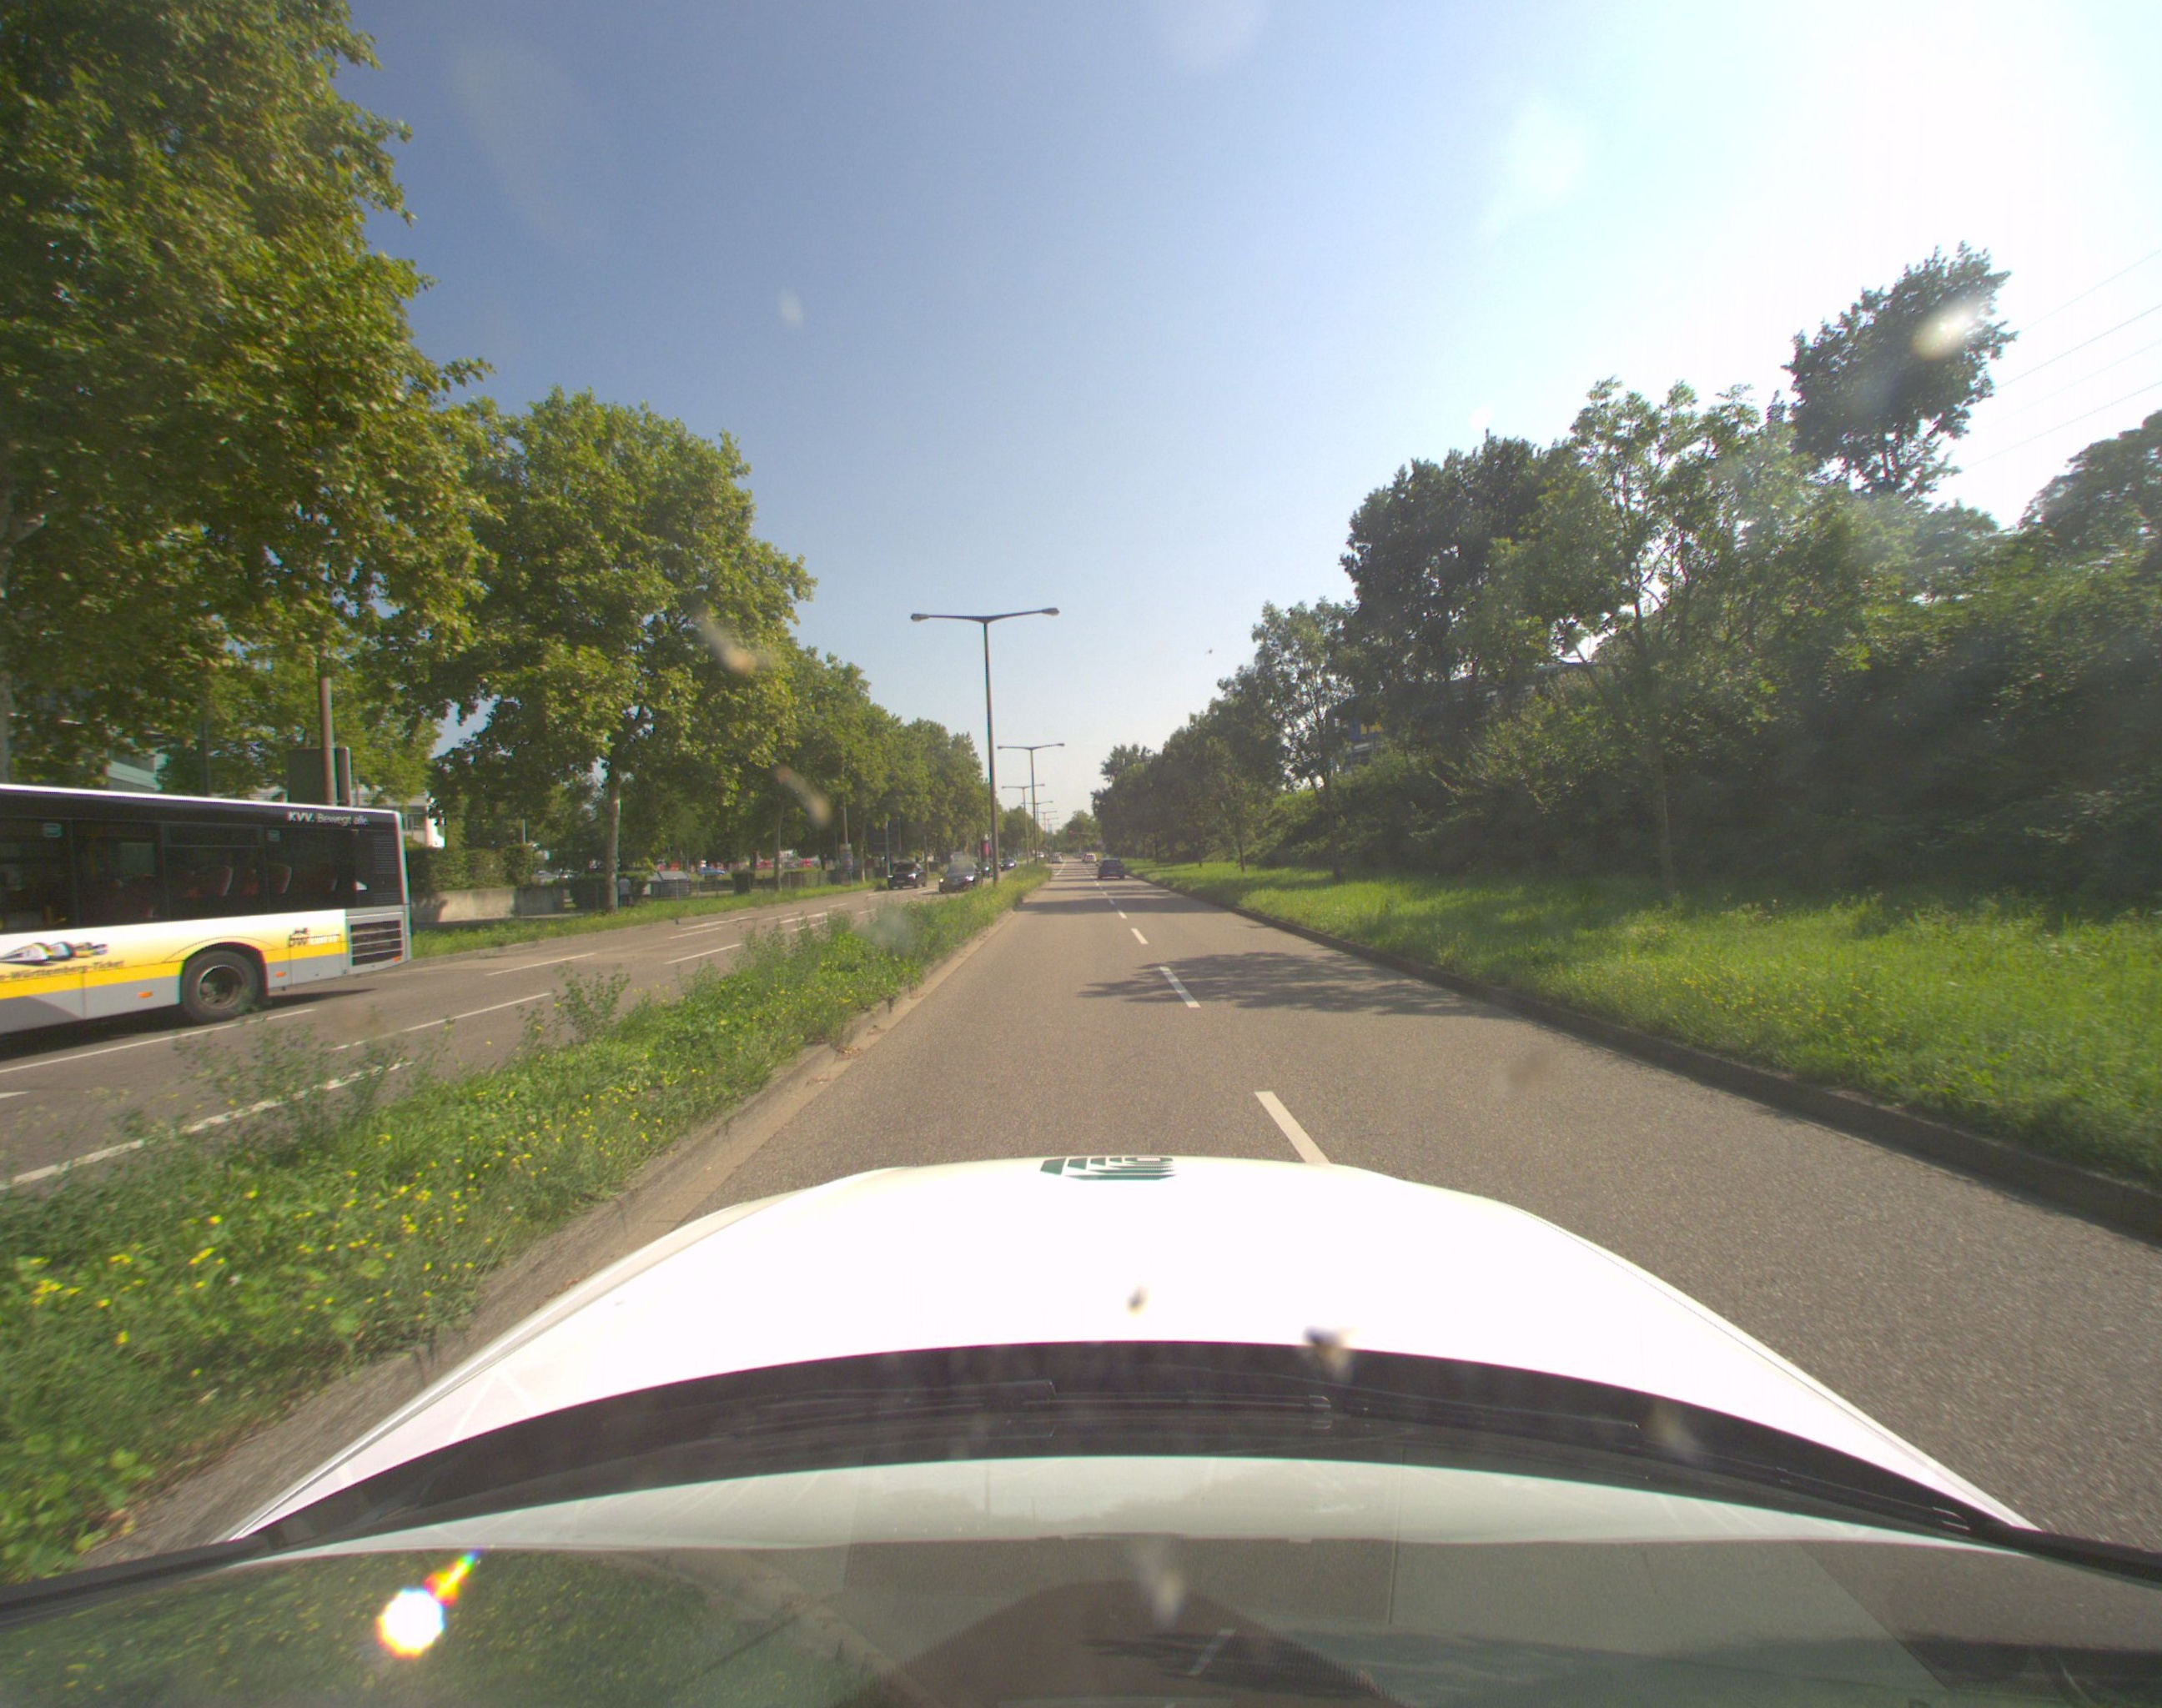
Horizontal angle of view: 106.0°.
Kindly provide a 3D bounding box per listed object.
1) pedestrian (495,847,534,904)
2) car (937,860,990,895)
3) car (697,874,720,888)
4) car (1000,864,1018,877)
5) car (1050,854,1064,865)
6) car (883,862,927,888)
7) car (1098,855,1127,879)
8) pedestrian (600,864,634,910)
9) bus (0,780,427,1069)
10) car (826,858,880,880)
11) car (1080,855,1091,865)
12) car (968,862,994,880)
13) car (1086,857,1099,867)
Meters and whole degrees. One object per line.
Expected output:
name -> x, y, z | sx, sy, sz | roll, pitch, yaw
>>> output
pedestrian -> -24.344, 0.894, 35.007 | 0.964, 2.390, 0.917 | 0, 2, 6
car -> -5.697, 1.101, 39.925 | 1.840, 1.490, 4.643 | -4, 0, 0
car -> -49.215, 3.548, 107.650 | 1.941, 1.452, 3.956 | -2, 3, -36
car -> -8.983, 2.061, 102.346 | 1.989, 1.585, 4.342 | -2, 0, -3
car -> -4.079, 0.886, 138.555 | 1.986, 1.702, 4.002 | -3, -1, 2
car -> -11.330, 1.328, 52.658 | 1.840, 1.605, 4.609 | -1, -1, -1
car -> 2.129, 0.867, 55.663 | 1.775, 1.427, 4.000 | -1, 2, -1
pedestrian -> -21.823, 1.538, 38.298 | 1.252, 2.013, 1.022 | 1, 3, 42
bus -> -11.419, 0.737, 7.068 | 2.654, 2.694, 10.901 | -4, 0, -1
car -> -26.390, 1.727, 94.229 | 5.570, 2.336, 2.277 | -1, 2, -3
car -> 0.848, 1.185, 160.706 | 1.989, 1.654, 3.997 | -2, 1, -2
car -> -8.960, 1.472, 73.319 | 1.699, 1.490, 4.312 | -2, 0, 0
car -> 1.899, 1.309, 136.013 | 1.988, 1.654, 3.998 | -3, -1, -1
